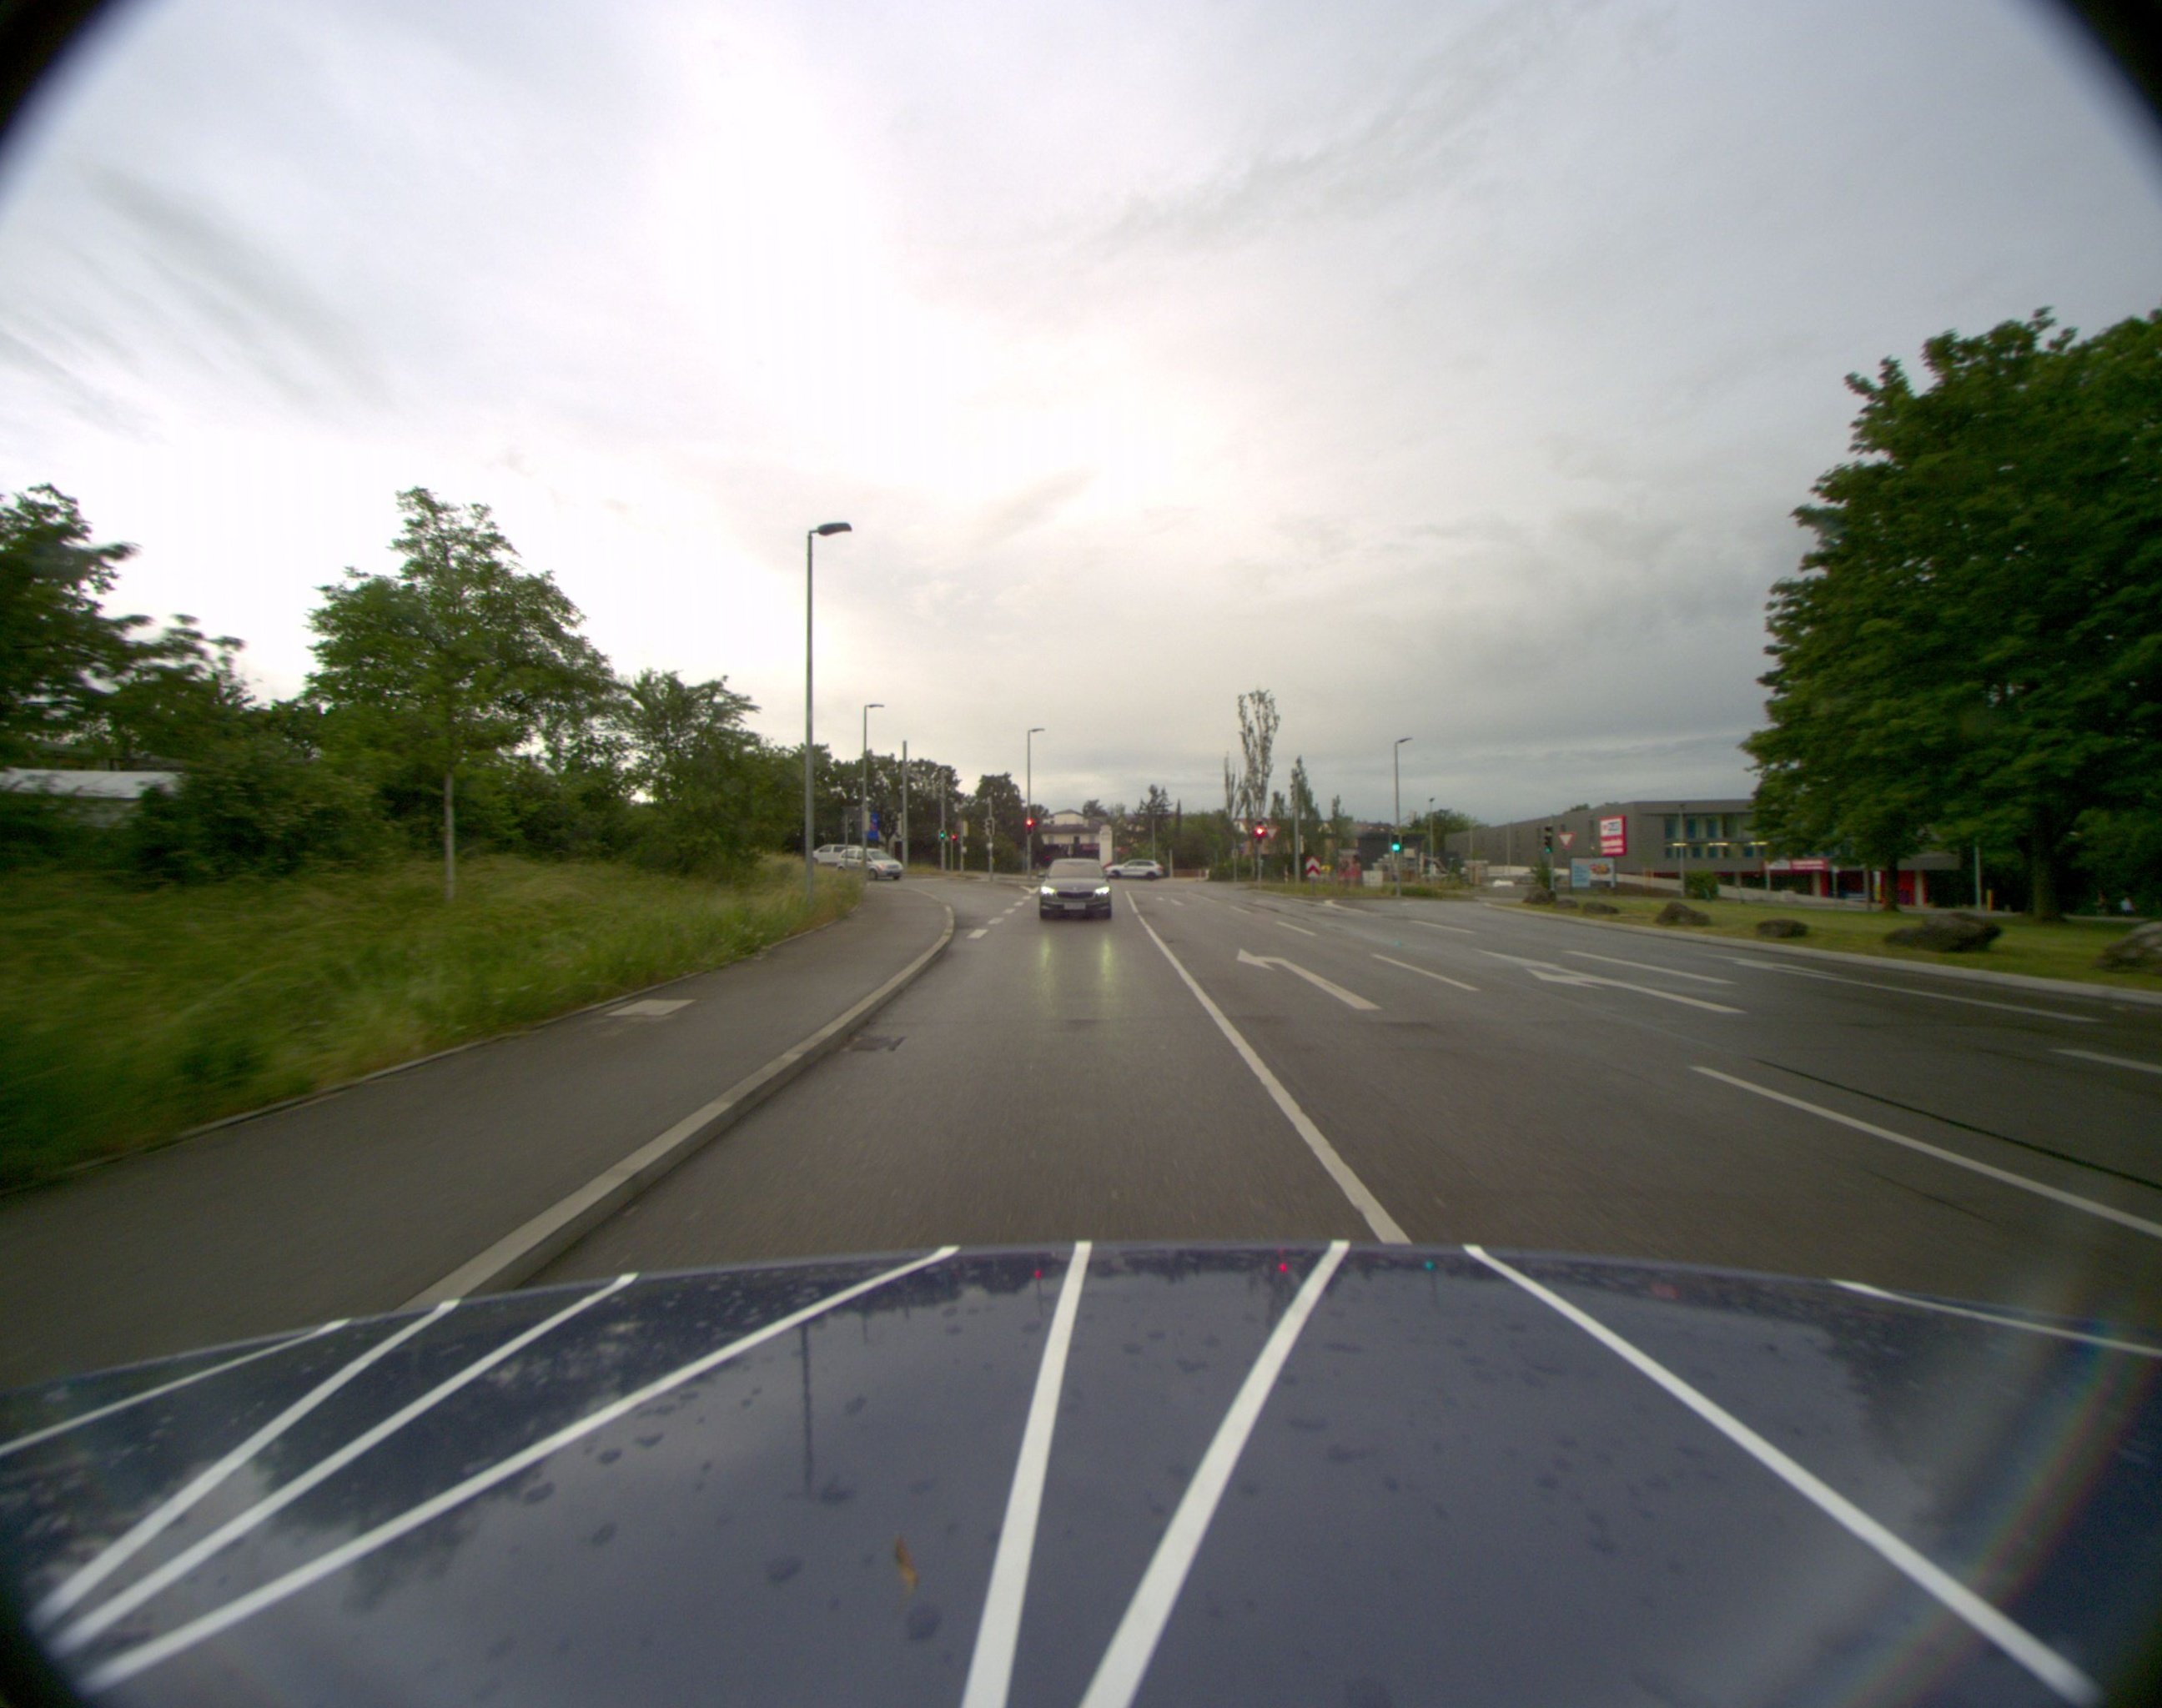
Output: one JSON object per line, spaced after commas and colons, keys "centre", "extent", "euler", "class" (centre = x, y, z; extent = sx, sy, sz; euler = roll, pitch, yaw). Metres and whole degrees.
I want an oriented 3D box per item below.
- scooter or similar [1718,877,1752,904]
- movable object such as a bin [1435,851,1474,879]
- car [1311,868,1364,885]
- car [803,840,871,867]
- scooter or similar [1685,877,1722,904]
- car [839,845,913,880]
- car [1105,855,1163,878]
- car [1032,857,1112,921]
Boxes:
{"centre": [31.978, 1.800, 37.139], "extent": [1.226, 1.251, 0.517], "euler": [2, -1, -5], "class": "scooter or similar"}
{"centre": [37.766, 1.118, 76.865], "extent": [2.997, 2.611, 1.929], "euler": [2, -1, 0], "class": "movable object such as a bin"}
{"centre": [21.709, 1.884, 64.465], "extent": [4.036, 1.396, 1.842], "euler": [0, -1, 8], "class": "car"}
{"centre": [-20.915, -0.025, 65.337], "extent": [5.188, 2.022, 1.841], "euler": [2, -1, 4], "class": "car"}
{"centre": [30.514, 1.769, 37.238], "extent": [1.357, 1.251, 0.549], "euler": [2, -1, -5], "class": "scooter or similar"}
{"centre": [-10.959, 0.406, 40.512], "extent": [4.050, 1.596, 1.826], "euler": [3, 5, 40], "class": "car"}
{"centre": [4.338, 1.016, 62.634], "extent": [4.621, 1.692, 1.841], "euler": [2, -1, 3], "class": "car"}
{"centre": [-0.149, 0.844, 19.863], "extent": [1.839, 1.448, 4.203], "euler": [-1, -1, 1], "class": "car"}
